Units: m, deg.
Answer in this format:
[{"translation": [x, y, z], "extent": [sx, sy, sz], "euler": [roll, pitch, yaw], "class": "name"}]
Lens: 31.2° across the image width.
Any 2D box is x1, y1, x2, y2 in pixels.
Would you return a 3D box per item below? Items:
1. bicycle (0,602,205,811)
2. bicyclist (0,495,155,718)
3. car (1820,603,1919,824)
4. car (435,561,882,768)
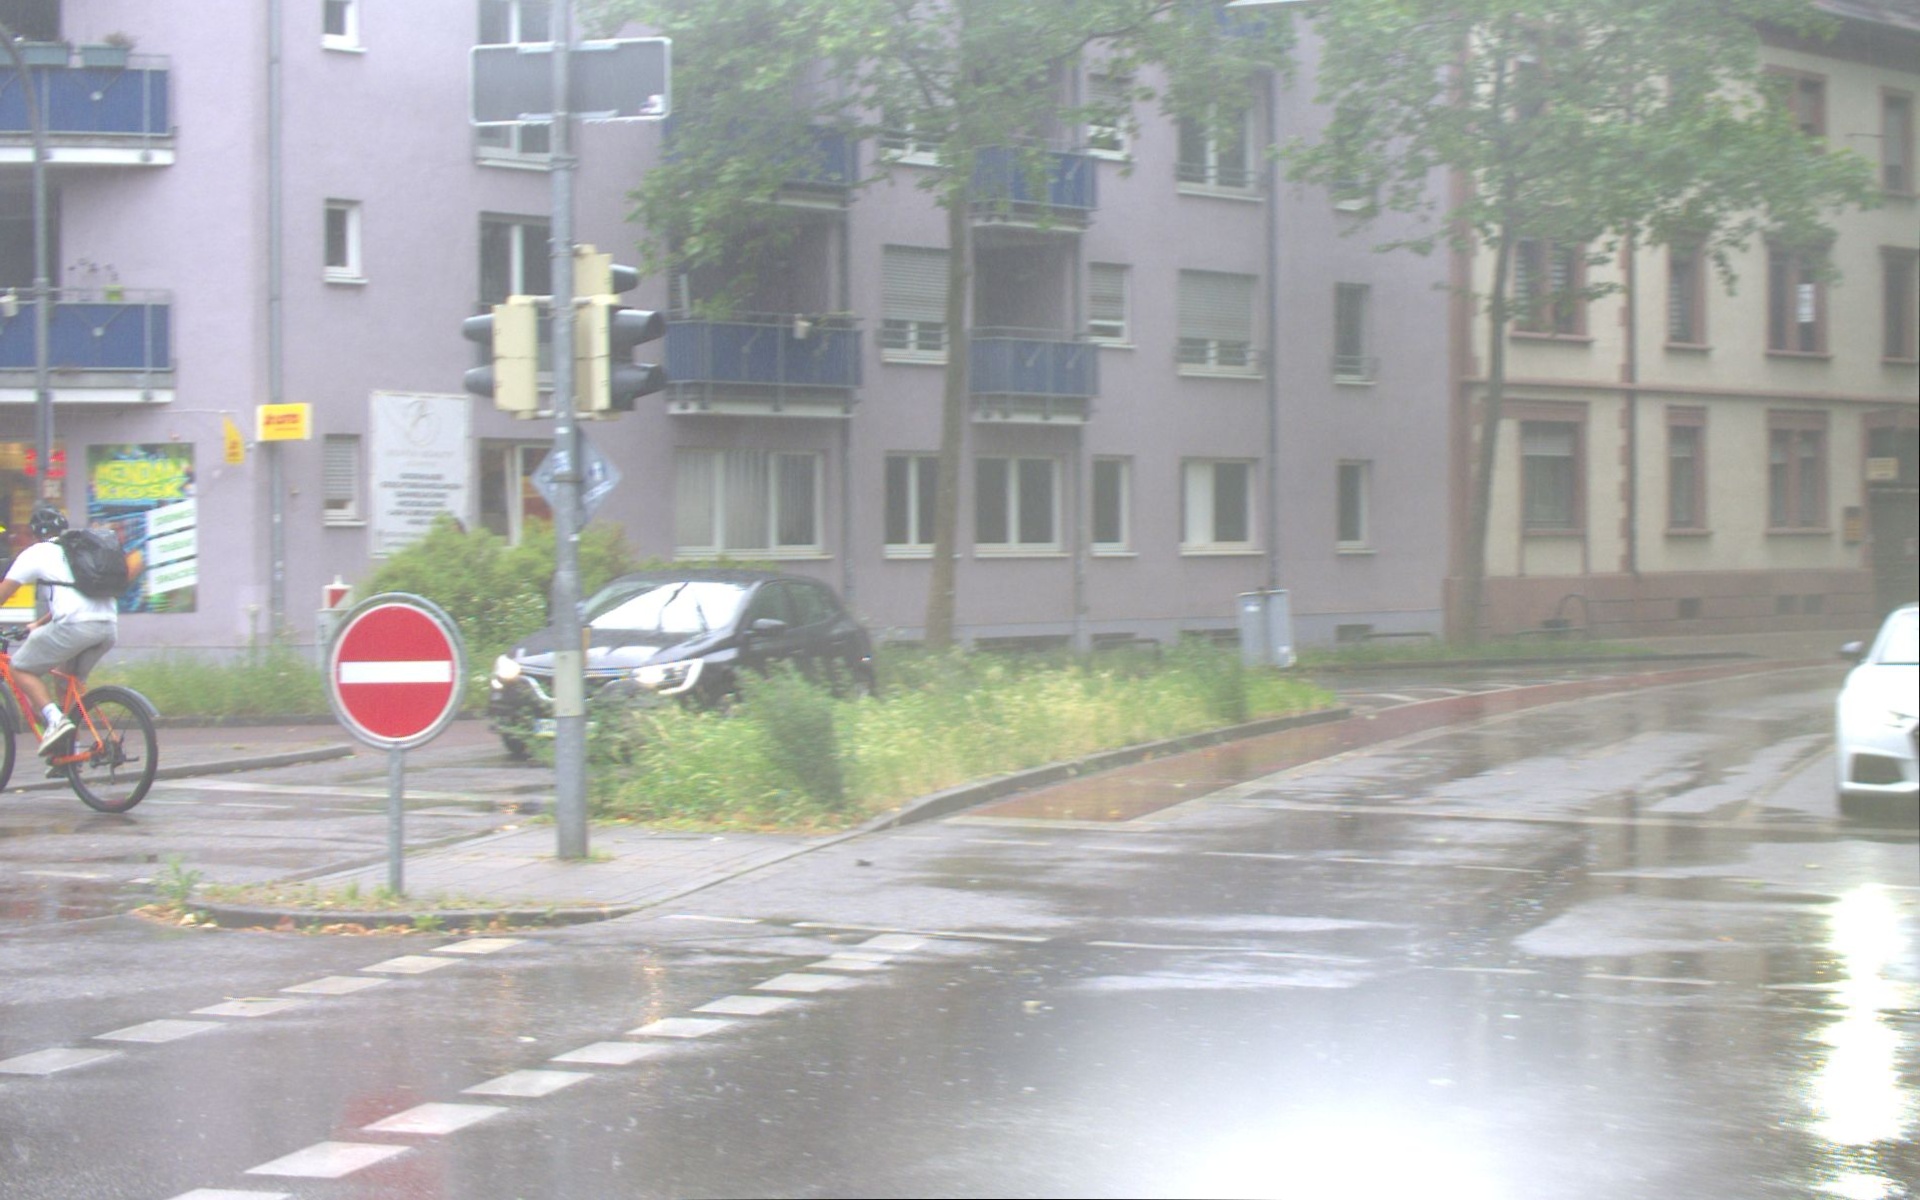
[{"translation": [-5.618, 0.619, 20.856], "extent": [2.038, 1.169, 0.752], "euler": [1, 2, 30], "class": "bicycle"}, {"translation": [-5.535, 0.021, 20.779], "extent": [1.075, 1.305, 0.741], "euler": [1, 2, 30], "class": "bicyclist"}, {"translation": [6.694, 0.683, 22.401], "extent": [1.898, 1.271, 4.169], "euler": [0, 1, 17], "class": "car"}, {"translation": [-2.269, 0.439, 27.091], "extent": [1.990, 1.456, 4.174], "euler": [1, 1, 19], "class": "car"}]
